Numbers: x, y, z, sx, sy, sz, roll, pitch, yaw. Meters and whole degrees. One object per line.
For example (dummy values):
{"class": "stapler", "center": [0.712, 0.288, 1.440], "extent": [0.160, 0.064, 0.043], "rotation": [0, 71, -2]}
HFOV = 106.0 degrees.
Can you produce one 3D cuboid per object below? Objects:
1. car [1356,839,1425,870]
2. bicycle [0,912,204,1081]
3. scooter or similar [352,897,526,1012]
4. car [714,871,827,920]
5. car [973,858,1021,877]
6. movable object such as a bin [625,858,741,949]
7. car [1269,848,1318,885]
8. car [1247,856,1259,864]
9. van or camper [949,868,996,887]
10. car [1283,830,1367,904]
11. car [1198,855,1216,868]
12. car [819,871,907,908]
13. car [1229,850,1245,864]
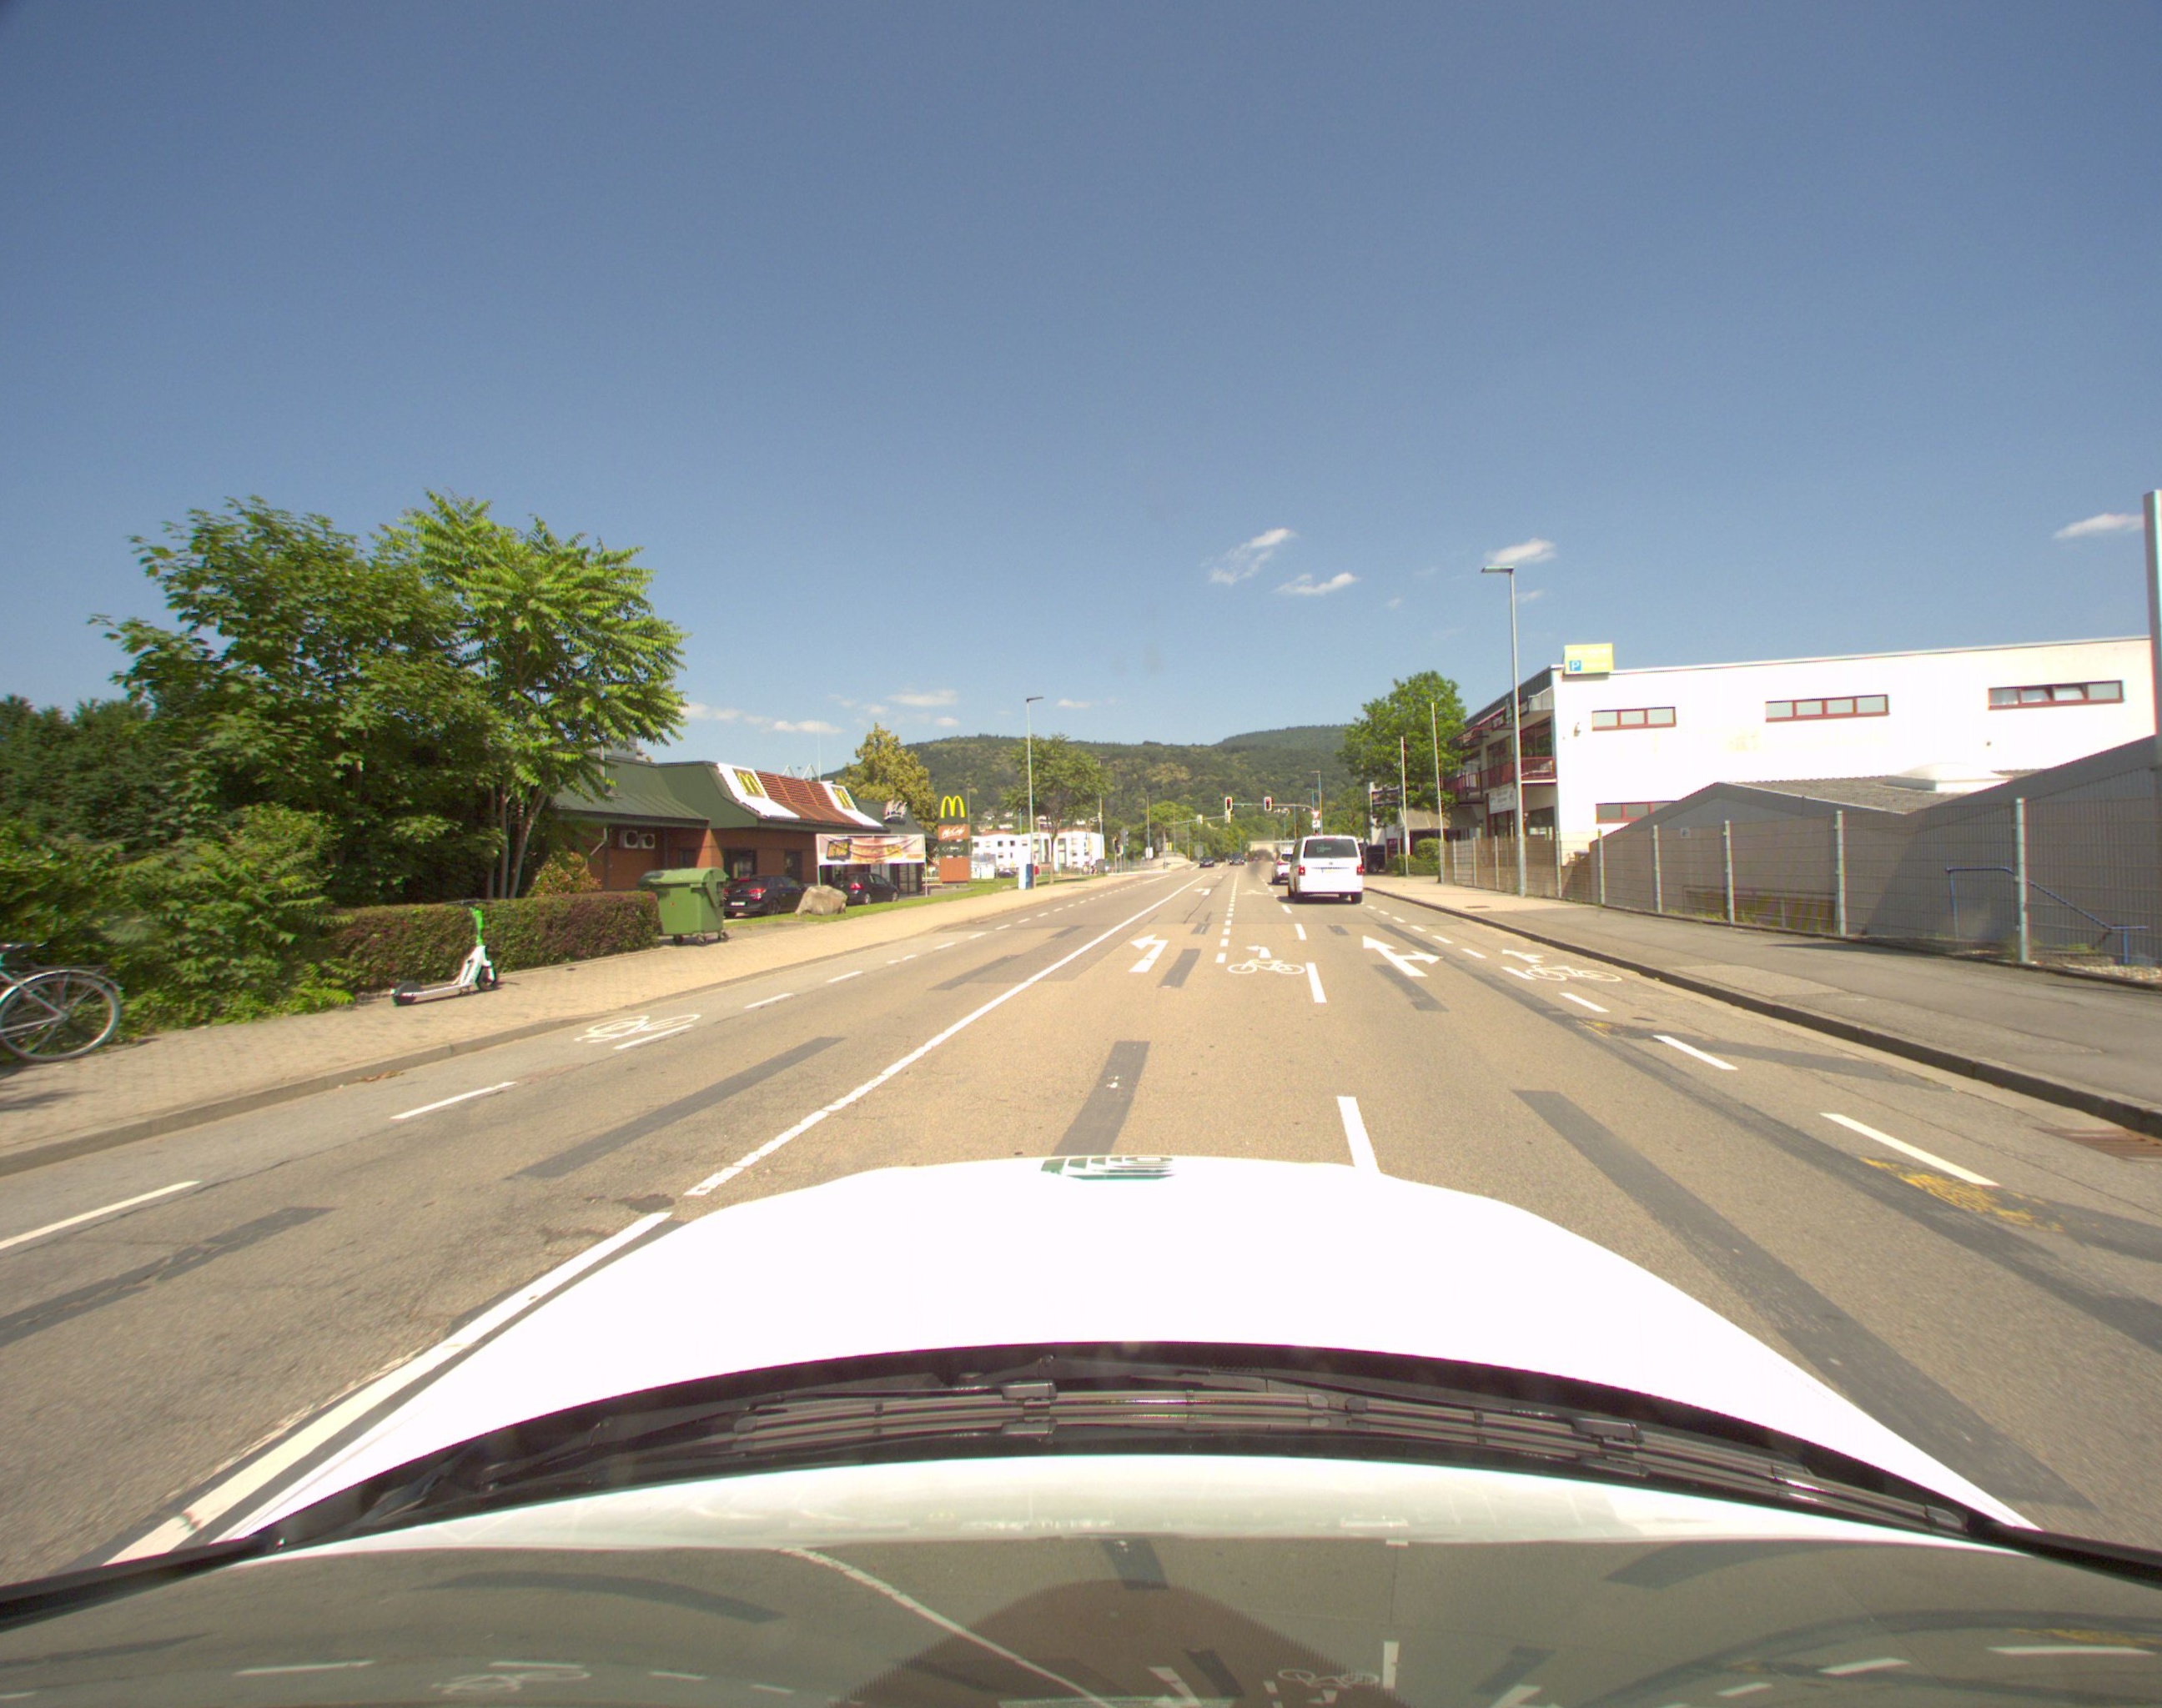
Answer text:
{"class": "car", "center": [19.879, 0.035, 52.498], "extent": [3.955, 1.775, 2.009], "rotation": [-2, 0, 17]}
{"class": "bicycle", "center": [-8.484, 1.101, 5.905], "extent": [1.021, 1.118, 2.772], "rotation": [2, 0, 8]}
{"class": "scooter or similar", "center": [-7.486, 1.127, 9.603], "extent": [0.644, 1.127, 1.625], "rotation": [1, 0, 5]}
{"class": "car", "center": [-10.930, 1.419, 29.013], "extent": [1.816, 1.476, 4.332], "rotation": [0, 0, 9]}
{"class": "car", "center": [-7.785, 1.280, 76.108], "extent": [4.306, 1.592, 1.997], "rotation": [-2, 0, -4]}
{"class": "movable object such as a bin", "center": [-7.477, 0.900, 15.387], "extent": [1.442, 1.590, 1.308], "rotation": [-2, 0, 2]}
{"class": "car", "center": [10.096, 0.551, 38.958], "extent": [1.923, 1.686, 4.557], "rotation": [0, 0, 10]}
{"class": "car", "center": [35.009, 1.257, 165.969], "extent": [1.982, 1.530, 4.053], "rotation": [1, 0, 8]}
{"class": "van or camper", "center": [-9.398, 2.021, 70.726], "extent": [3.984, 1.574, 1.995], "rotation": [0, 0, -8]}
{"class": "car", "center": [7.378, 0.348, 25.049], "extent": [1.923, 2.059, 4.557], "rotation": [-1, 0, 10]}
{"class": "car", "center": [15.412, 0.894, 99.456], "extent": [1.981, 1.370, 4.340], "rotation": [-2, 0, 11]}
{"class": "car", "center": [-9.490, 1.509, 35.796], "extent": [1.980, 1.416, 4.144], "rotation": [0, 0, 13]}
{"class": "car", "center": [19.676, 0.387, 102.834], "extent": [1.837, 1.588, 4.013], "rotation": [-2, 0, 12]}
